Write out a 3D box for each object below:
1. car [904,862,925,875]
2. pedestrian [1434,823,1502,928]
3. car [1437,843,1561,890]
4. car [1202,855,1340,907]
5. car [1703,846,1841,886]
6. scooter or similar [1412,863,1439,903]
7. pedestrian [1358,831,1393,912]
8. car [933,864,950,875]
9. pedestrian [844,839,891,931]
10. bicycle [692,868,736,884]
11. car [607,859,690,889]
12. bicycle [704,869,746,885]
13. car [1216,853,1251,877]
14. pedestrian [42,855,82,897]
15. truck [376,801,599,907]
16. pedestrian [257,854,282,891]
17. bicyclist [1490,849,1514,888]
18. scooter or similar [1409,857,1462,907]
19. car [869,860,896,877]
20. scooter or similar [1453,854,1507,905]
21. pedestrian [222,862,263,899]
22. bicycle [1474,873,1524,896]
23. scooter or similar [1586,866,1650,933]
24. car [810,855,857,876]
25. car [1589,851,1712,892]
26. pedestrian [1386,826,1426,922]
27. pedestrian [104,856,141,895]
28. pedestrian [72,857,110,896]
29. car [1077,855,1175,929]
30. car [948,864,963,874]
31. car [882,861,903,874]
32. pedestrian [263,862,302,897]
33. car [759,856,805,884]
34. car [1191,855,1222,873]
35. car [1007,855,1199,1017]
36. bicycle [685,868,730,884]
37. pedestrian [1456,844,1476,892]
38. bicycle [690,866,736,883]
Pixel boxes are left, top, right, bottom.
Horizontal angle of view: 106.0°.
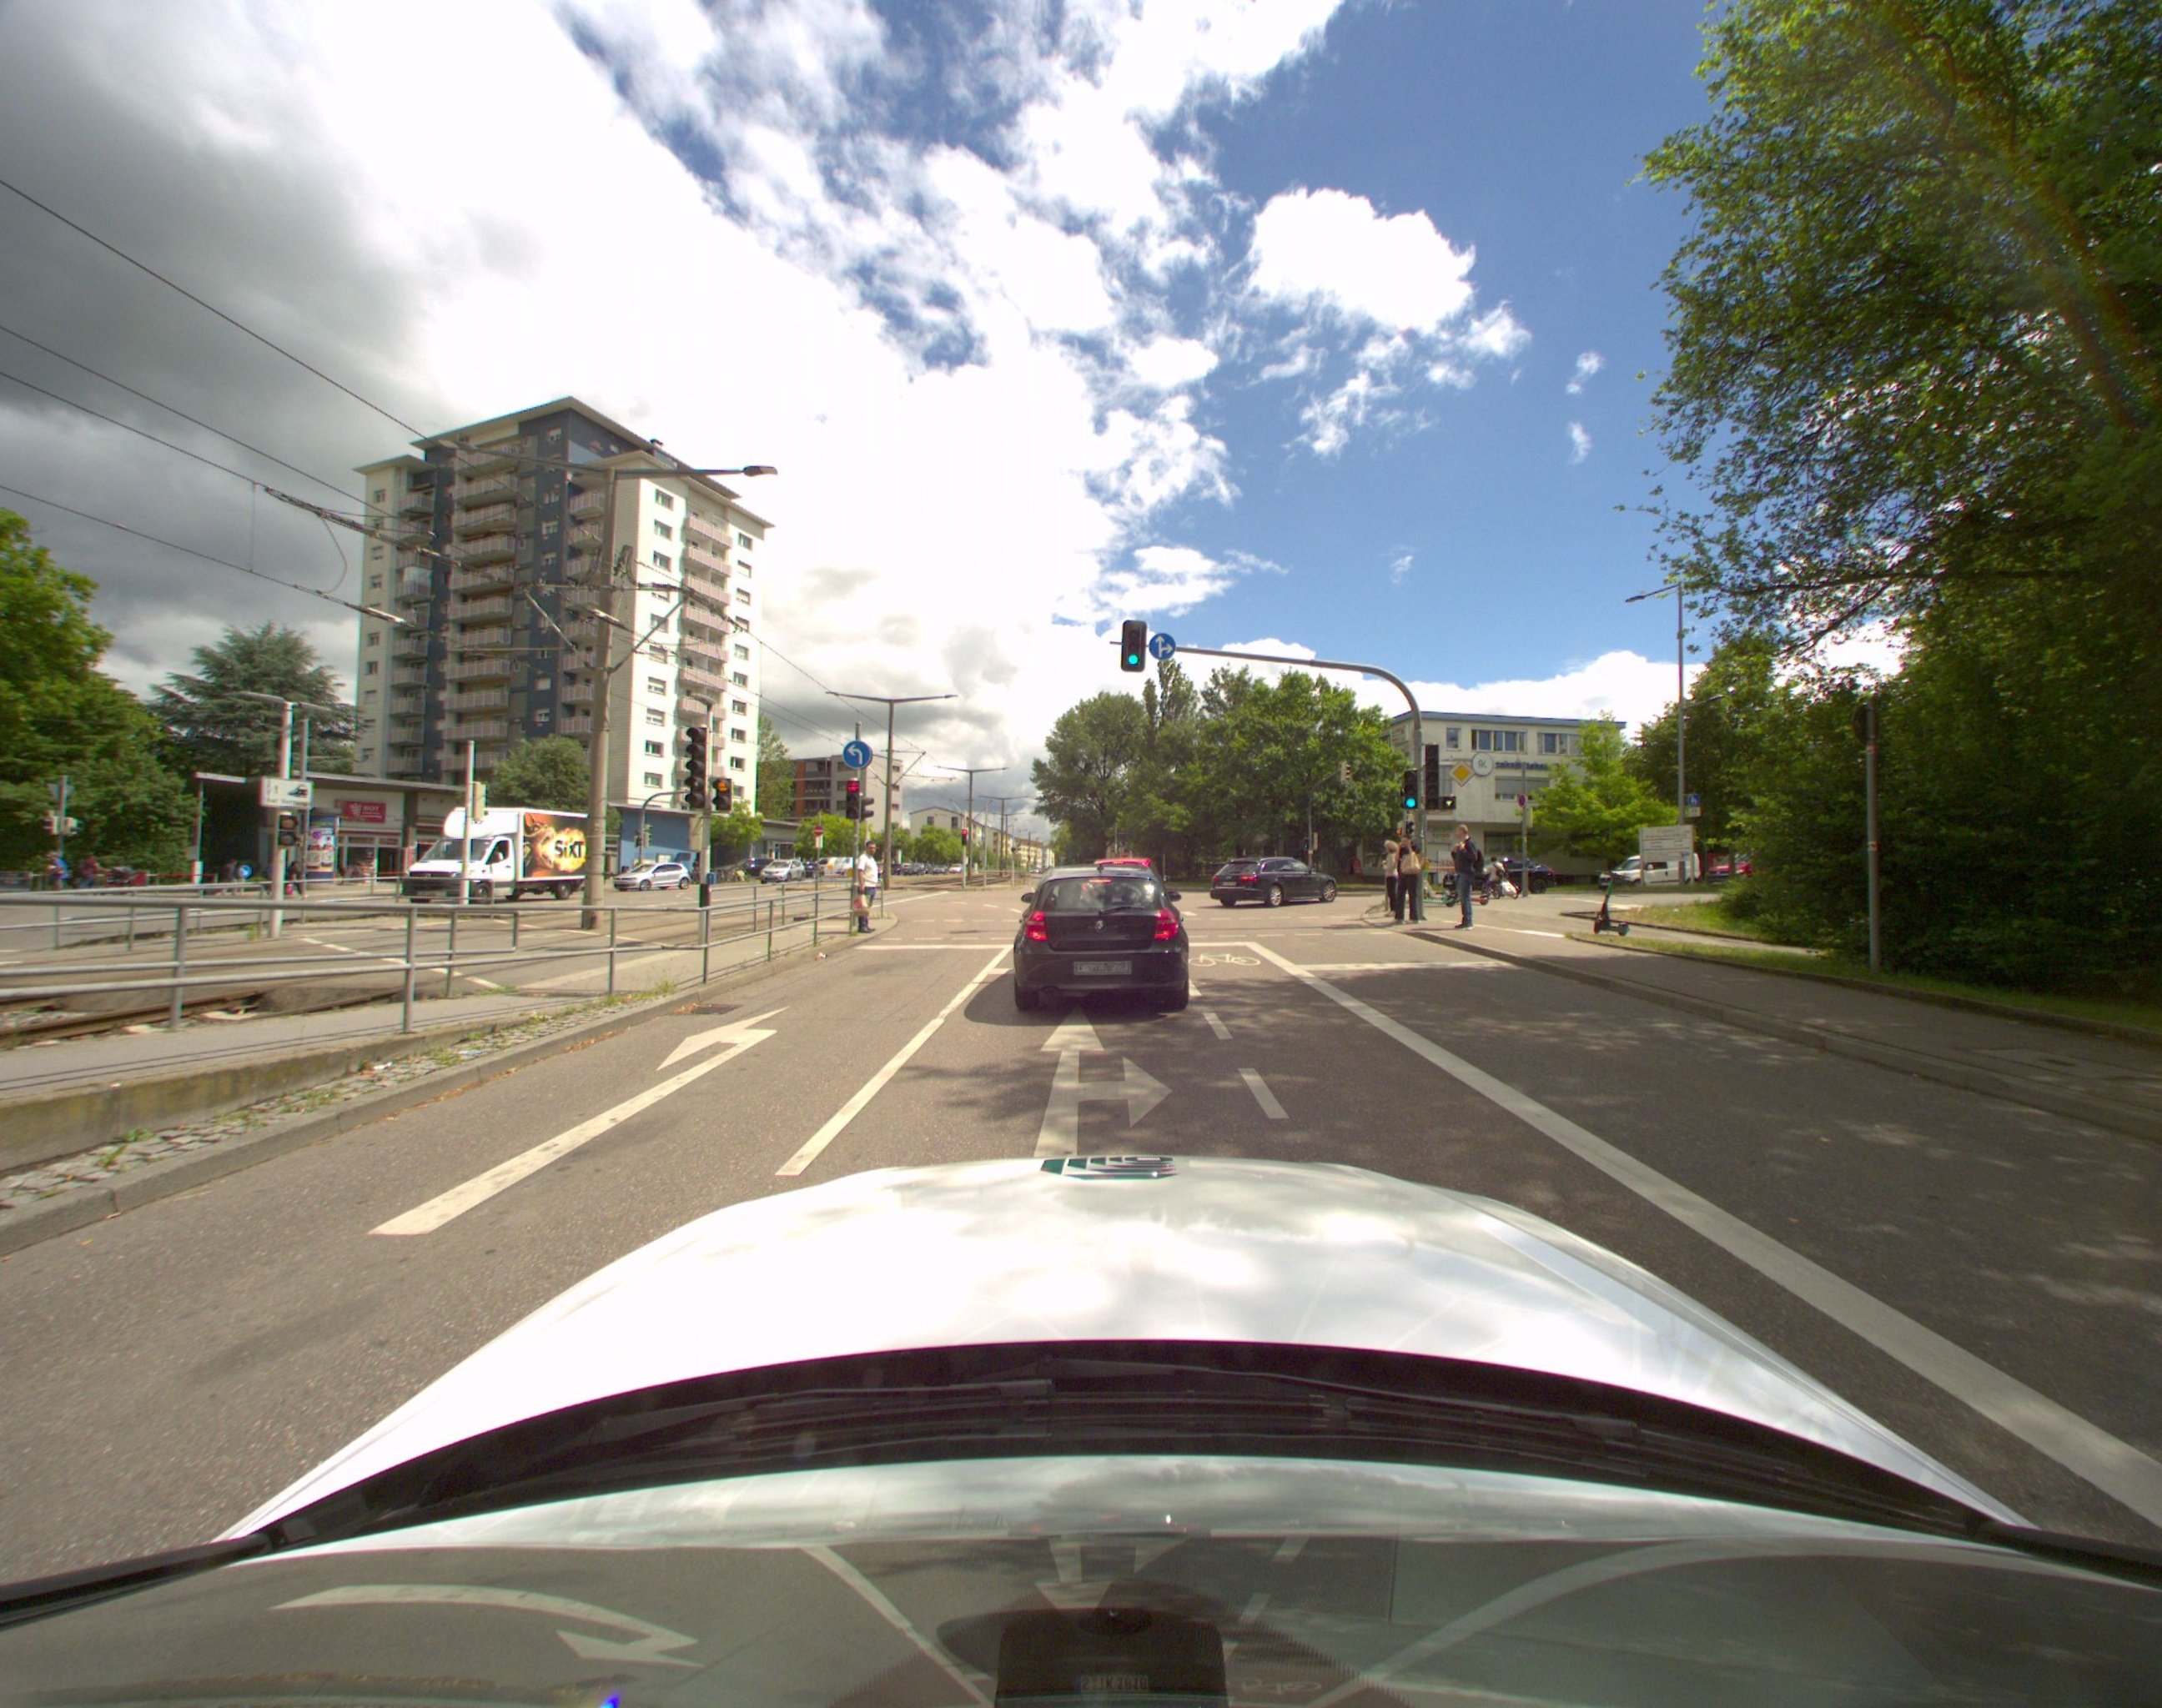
[{"bbox_3d":[-20.107,1.774,98.644,1.645,1.534,3.872,0,0,1],"label":"car"},{"bbox_3d":[7.206,0.388,15.218,0.792,1.876,1.014,0,0,1],"label":"pedestrian"},{"bbox_3d":[18.268,0.538,35.720,4.528,2.013,1.996,0,0,-5],"label":"car"},{"bbox_3d":[5.835,0.754,24.727,4.564,1.422,1.883,0,0,-44],"label":"car"},{"bbox_3d":[31.804,0.548,37.563,4.953,1.800,1.996,0,0,-5],"label":"car"},{"bbox_3d":[9.483,0.788,22.456,0.543,1.064,1.267,0,0,16],"label":"scooter or similar"},{"bbox_3d":[6.550,0.384,18.125,0.632,1.766,0.519,0,0,8],"label":"pedestrian"},{"bbox_3d":[-19.582,2.194,114.775,1.645,1.534,3.872,0,0,1],"label":"car"},{"bbox_3d":[-4.100,0.585,15.694,0.684,1.734,0.688,-1,0,2],"label":"pedestrian"},{"bbox_3d":[-23.940,1.412,53.116,2.569,1.008,0.749,1,-2,-26],"label":"bicycle"},{"bbox_3d":[-22.231,1.001,42.012,1.395,1.461,3.794,0,0,20],"label":"car"},{"bbox_3d":[-24.100,1.557,55.173,2.569,1.008,0.749,1,-2,-26],"label":"bicycle"},{"bbox_3d":[12.552,0.894,67.288,1.724,1.871,3.991,0,0,-6],"label":"car"},{"bbox_3d":[-35.757,0.762,28.587,0.556,1.467,0.663,0,0,-1],"label":"pedestrian"},{"bbox_3d":[-19.506,0.003,27.472,2.275,3.118,7.314,0,0,-2],"label":"truck"},{"bbox_3d":[-37.227,0.841,37.351,0.365,1.670,0.718,0,0,5],"label":"pedestrian"},{"bbox_3d":[12.753,0.435,24.698,0.501,1.157,0.398,0,0,-11],"label":"bicyclist"},{"bbox_3d":[8.896,0.695,20.454,1.104,1.235,0.540,0,0,4],"label":"scooter or similar"},{"bbox_3d":[-19.499,1.404,80.023,1.645,1.534,3.872,0,0,1],"label":"car"},{"bbox_3d":[10.384,0.657,21.224,1.145,1.272,0.556,1,0,4],"label":"scooter or similar"},{"bbox_3d":[-35.199,1.113,34.200,0.740,1.510,0.926,0,0,10],"label":"pedestrian"},{"bbox_3d":[12.733,0.922,24.855,0.532,0.610,1.586,0,0,-9],"label":"bicycle"},{"bbox_3d":[10.574,0.880,16.054,0.886,1.230,0.455,4,0,2],"label":"scooter or similar"},{"bbox_3d":[-23.680,1.086,78.031,3.944,1.975,1.637,0,0,-40],"label":"car"},{"bbox_3d":[25.758,0.769,36.899,4.366,1.764,1.995,0,0,-7],"label":"car"},{"bbox_3d":[6.493,0.394,16.306,0.632,1.876,0.519,0,0,8],"label":"pedestrian"},{"bbox_3d":[-34.672,0.775,29.467,0.537,1.375,0.677,0,0,1],"label":"pedestrian"},{"bbox_3d":[-34.582,0.779,28.459,0.474,1.375,0.677,0,0,1],"label":"pedestrian"},{"bbox_3d":[1.058,0.728,17.396,1.628,1.400,3.430,0,0,11],"label":"car"},{"bbox_3d":[-19.604,2.324,127.479,1.645,1.534,3.872,0,0,1],"label":"car"},{"bbox_3d":[-23.301,1.671,100.717,1.585,1.474,3.776,0,0,1],"label":"car"},{"bbox_3d":[-35.016,1.103,35.722,0.740,1.510,0.926,0,0,10],"label":"pedestrian"},{"bbox_3d":[-19.900,1.042,54.318,1.585,1.756,3.776,0,0,1],"label":"car"},{"bbox_3d":[12.054,0.932,78.222,1.862,1.662,3.988,0,0,-8],"label":"car"},{"bbox_3d":[0.266,0.732,8.913,1.693,1.400,3.422,0,0,2],"label":"car"},{"bbox_3d":[-23.829,1.416,52.009,2.569,1.008,0.749,1,-2,-26],"label":"bicycle"},{"bbox_3d":[13.916,0.488,29.428,0.651,1.713,0.464,0,0,28],"label":"pedestrian"},{"bbox_3d":[-23.131,1.309,51.228,2.569,1.008,0.749,1,-2,-26],"label":"bicycle"}]
